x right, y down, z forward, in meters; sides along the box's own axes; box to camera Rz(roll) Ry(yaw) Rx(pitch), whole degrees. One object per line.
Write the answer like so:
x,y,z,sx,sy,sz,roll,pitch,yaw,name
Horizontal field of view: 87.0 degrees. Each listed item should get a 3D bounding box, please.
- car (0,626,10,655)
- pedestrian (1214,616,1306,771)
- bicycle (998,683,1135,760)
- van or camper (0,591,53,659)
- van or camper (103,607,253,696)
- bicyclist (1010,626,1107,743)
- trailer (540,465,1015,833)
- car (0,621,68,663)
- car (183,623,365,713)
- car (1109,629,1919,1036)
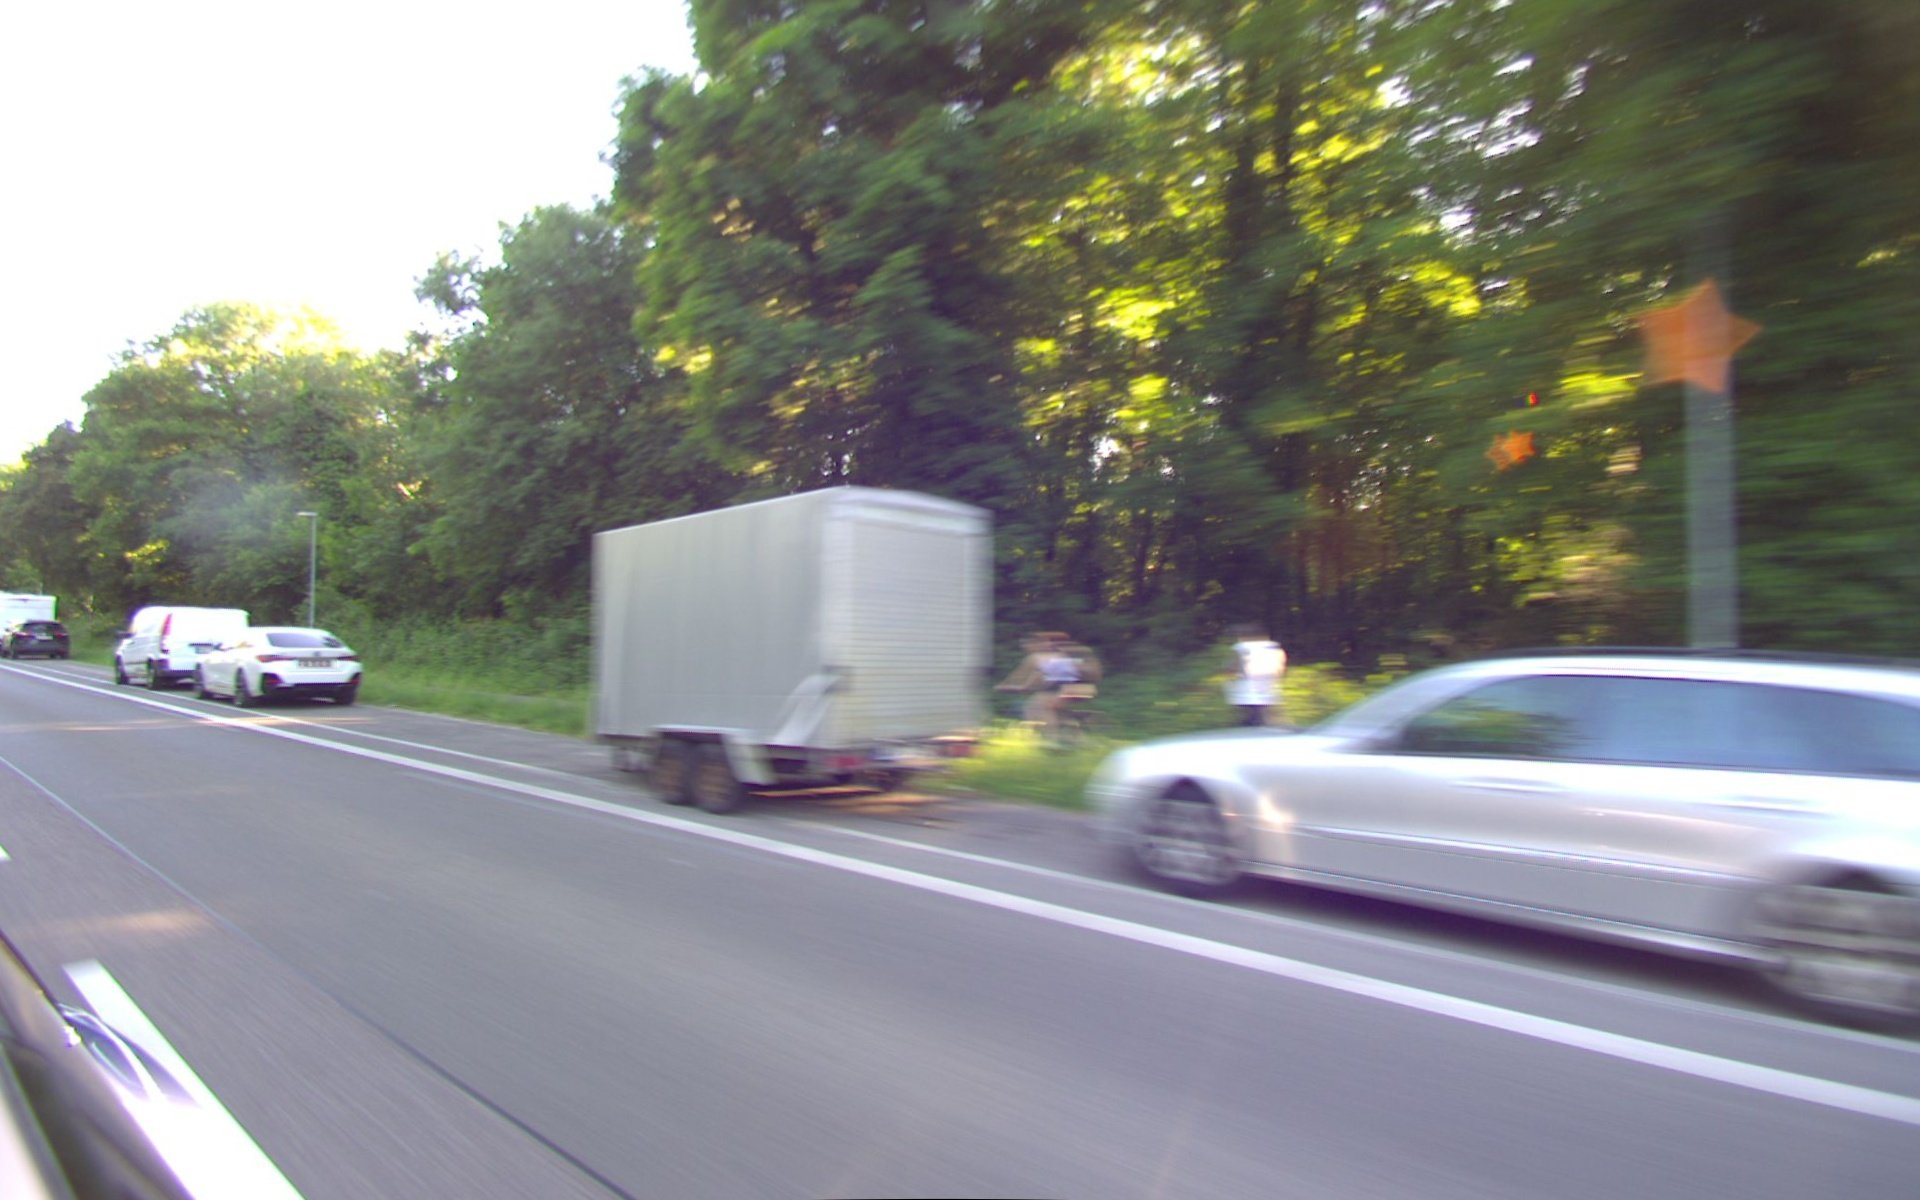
-50.491,2.045,51.922,4.674,1.487,1.810,-1,-3,38,car
3.207,0.959,10.806,0.700,1.579,0.706,-1,-1,41,pedestrian
1.166,1.327,11.247,1.486,0.718,0.516,-1,-1,41,bicycle
-44.597,1.185,47.092,7.102,2.993,2.292,-1,-4,39,van or camper
-18.720,1.177,24.146,4.852,1.926,1.817,-1,-3,40,van or camper
1.098,0.913,11.302,0.973,1.244,0.482,-1,-1,41,bicyclist
-1.845,0.423,9.405,4.413,2.617,1.973,-1,-4,41,trailer
-37.918,1.708,41.322,4.271,1.644,1.629,-1,-4,41,car
-13.354,1.250,19.598,4.521,1.552,1.756,-1,-3,41,car
3.199,0.904,5.105,4.622,1.465,1.779,-1,-3,40,car
